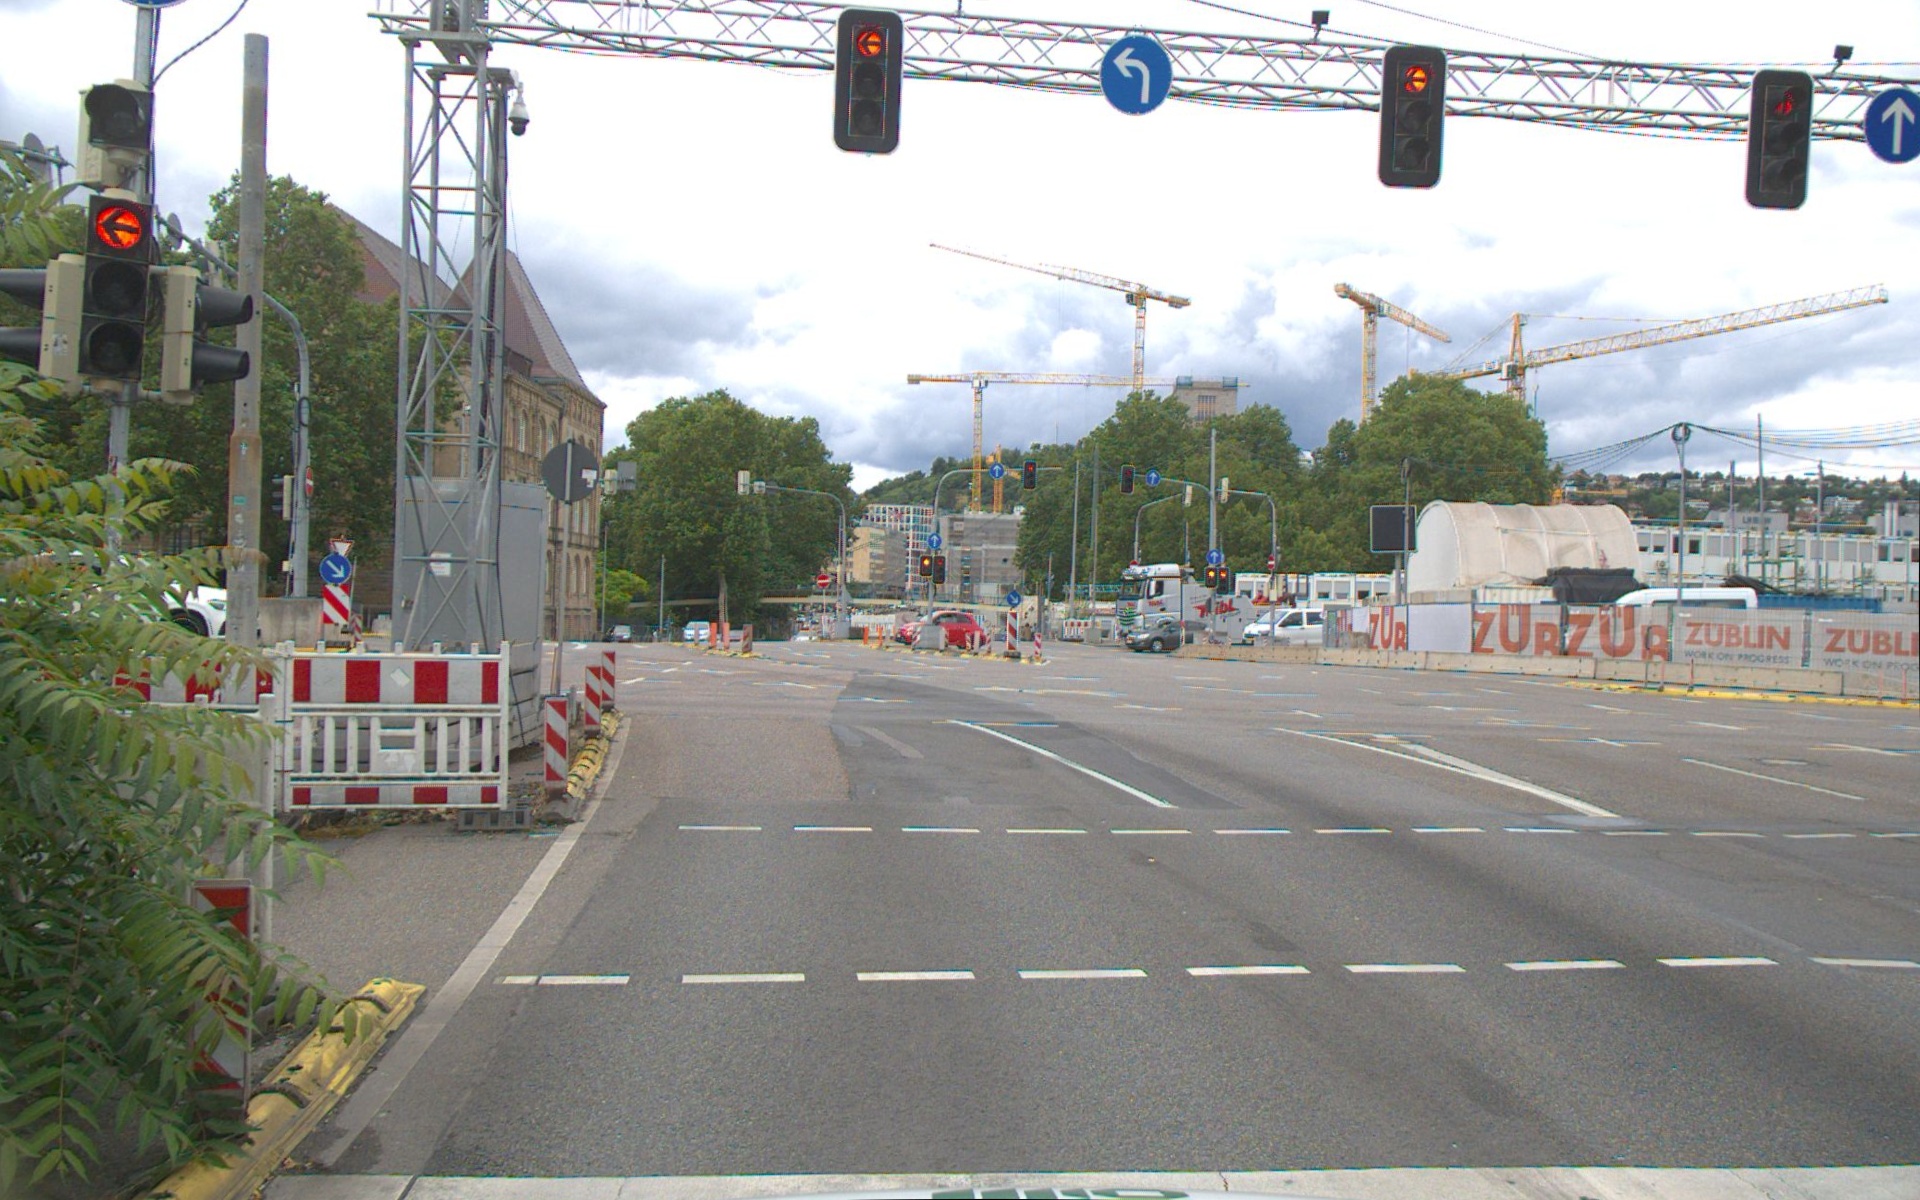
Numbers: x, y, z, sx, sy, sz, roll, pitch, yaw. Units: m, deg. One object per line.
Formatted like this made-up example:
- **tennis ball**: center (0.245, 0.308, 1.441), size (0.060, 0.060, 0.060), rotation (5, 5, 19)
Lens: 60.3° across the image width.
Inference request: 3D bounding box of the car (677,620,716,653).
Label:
- **car**: center (-16.055, 2.207, 101.012), size (1.954, 1.870, 3.997), rotation (1, 0, -3)

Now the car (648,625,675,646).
- **car**: center (-28.029, 3.356, 155.271), size (1.954, 1.870, 3.997), rotation (1, 0, -3)

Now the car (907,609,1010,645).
- **car**: center (-0.077, 1.082, 66.414), size (3.755, 1.410, 1.792), rotation (1, 0, -23)

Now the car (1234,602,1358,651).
- **car**: center (14.680, 1.172, 72.203), size (5.061, 2.049, 2.062), rotation (1, 0, -24)

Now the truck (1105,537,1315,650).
- **truck**: center (11.841, -0.232, 78.099), size (9.581, 5.047, 3.092), rotation (1, -1, -23)

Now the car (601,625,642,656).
- **car**: center (-21.828, 2.595, 106.775), size (1.954, 1.870, 3.997), rotation (1, 0, -3)

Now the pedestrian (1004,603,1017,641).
- **pedestrian**: center (2.515, 1.096, 82.364), size (0.574, 1.872, 0.604), rotation (1, -1, -4)

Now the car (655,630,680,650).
- **car**: center (-28.662, 3.933, 162.070), size (1.954, 1.870, 3.997), rotation (1, 0, -3)

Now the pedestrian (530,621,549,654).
- **pedestrian**: center (-26.058, 2.320, 102.504), size (0.930, 2.049, 0.766), rotation (1, -1, 1)

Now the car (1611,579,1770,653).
- **car**: center (21.053, 0.447, 47.818), size (3.902, 2.049, 2.001), rotation (1, 0, 15)

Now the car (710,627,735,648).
- **car**: center (-22.105, 3.465, 154.287), size (1.954, 1.870, 3.997), rotation (1, 0, -3)

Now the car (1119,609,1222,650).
- **car**: center (9.322, 1.317, 73.319), size (4.104, 1.731, 1.955), rotation (1, 0, -20)

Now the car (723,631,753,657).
- **car**: center (-17.367, 3.444, 129.474), size (1.954, 1.870, 3.997), rotation (1, 0, -3)

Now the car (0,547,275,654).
- **car**: center (-14.992, 0.017, 29.870), size (4.405, 1.790, 1.997), rotation (1, 0, -7)

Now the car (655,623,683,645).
- **car**: center (-25.395, 2.953, 144.392), size (1.954, 1.870, 3.997), rotation (1, 0, -3)

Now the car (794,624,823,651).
- **car**: center (-11.116, 2.773, 121.785), size (1.954, 1.870, 3.997), rotation (1, 0, -3)
